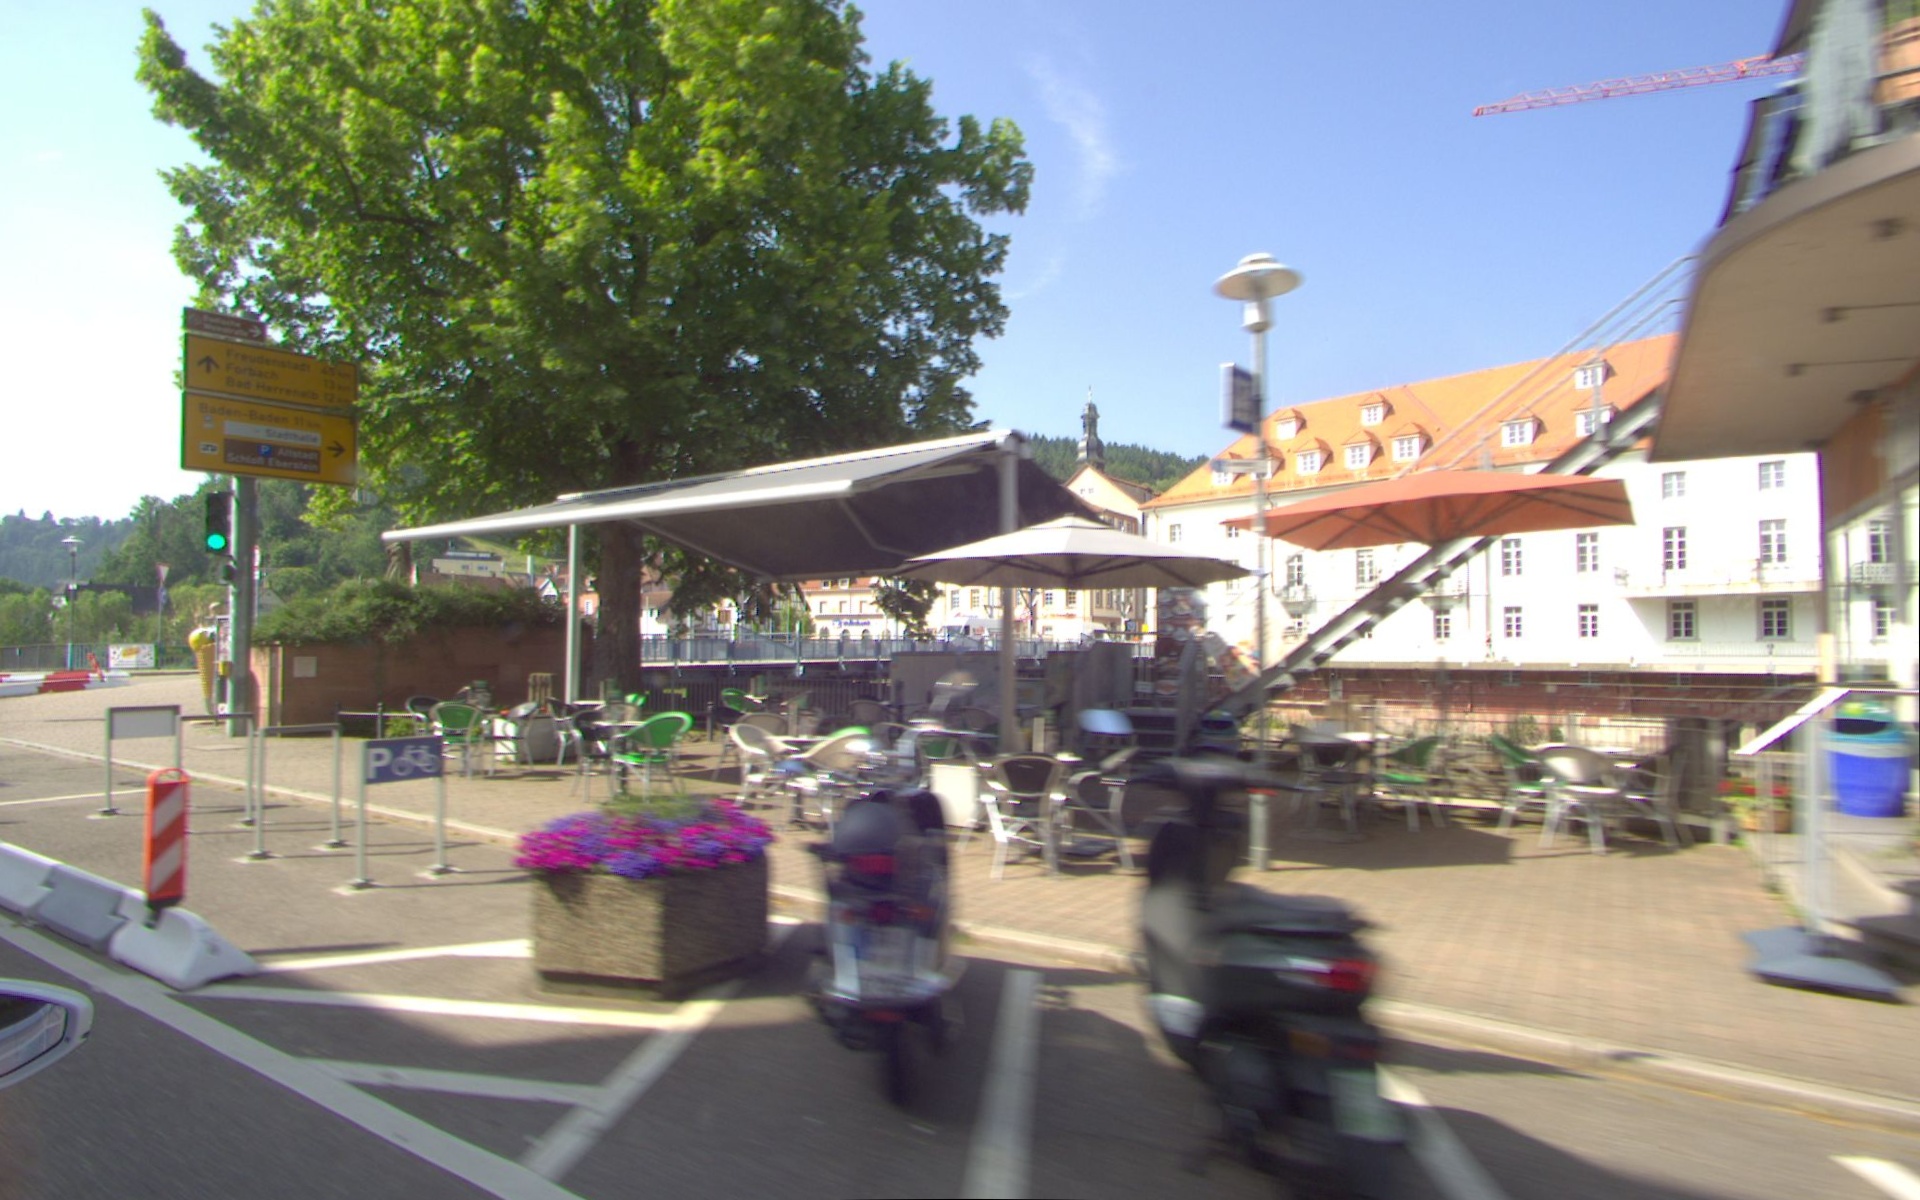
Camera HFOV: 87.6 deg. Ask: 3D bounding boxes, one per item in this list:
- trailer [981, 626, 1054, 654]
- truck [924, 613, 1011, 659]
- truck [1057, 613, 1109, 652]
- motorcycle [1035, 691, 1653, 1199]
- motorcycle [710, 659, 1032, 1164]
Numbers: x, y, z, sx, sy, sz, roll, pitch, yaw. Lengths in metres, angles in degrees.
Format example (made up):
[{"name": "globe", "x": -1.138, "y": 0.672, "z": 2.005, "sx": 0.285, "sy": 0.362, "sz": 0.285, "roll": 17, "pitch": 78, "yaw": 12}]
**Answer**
[{"name": "trailer", "x": 4.037, "y": 2.770, "z": 69.487, "sx": 2.583, "sy": 1.851, "sz": 5.607, "roll": -2, "pitch": -2, "yaw": 34}, {"name": "truck", "x": 0.597, "y": 2.243, "z": 64.180, "sx": 2.083, "sy": 2.734, "sz": 7.094, "roll": -2, "pitch": -1, "yaw": 33}, {"name": "truck", "x": 8.534, "y": 2.276, "z": 69.219, "sx": 1.842, "sy": 2.617, "sz": 4.237, "roll": -1, "pitch": -3, "yaw": 35}, {"name": "motorcycle", "x": 0.874, "y": 0.980, "z": 3.071, "sx": 0.911, "sy": 1.286, "sz": 2.091, "roll": 1, "pitch": -2, "yaw": -6}, {"name": "motorcycle", "x": -0.272, "y": 0.934, "z": 3.787, "sx": 0.899, "sy": 1.375, "sz": 1.901, "roll": 0, "pitch": -2, "yaw": -1}]
